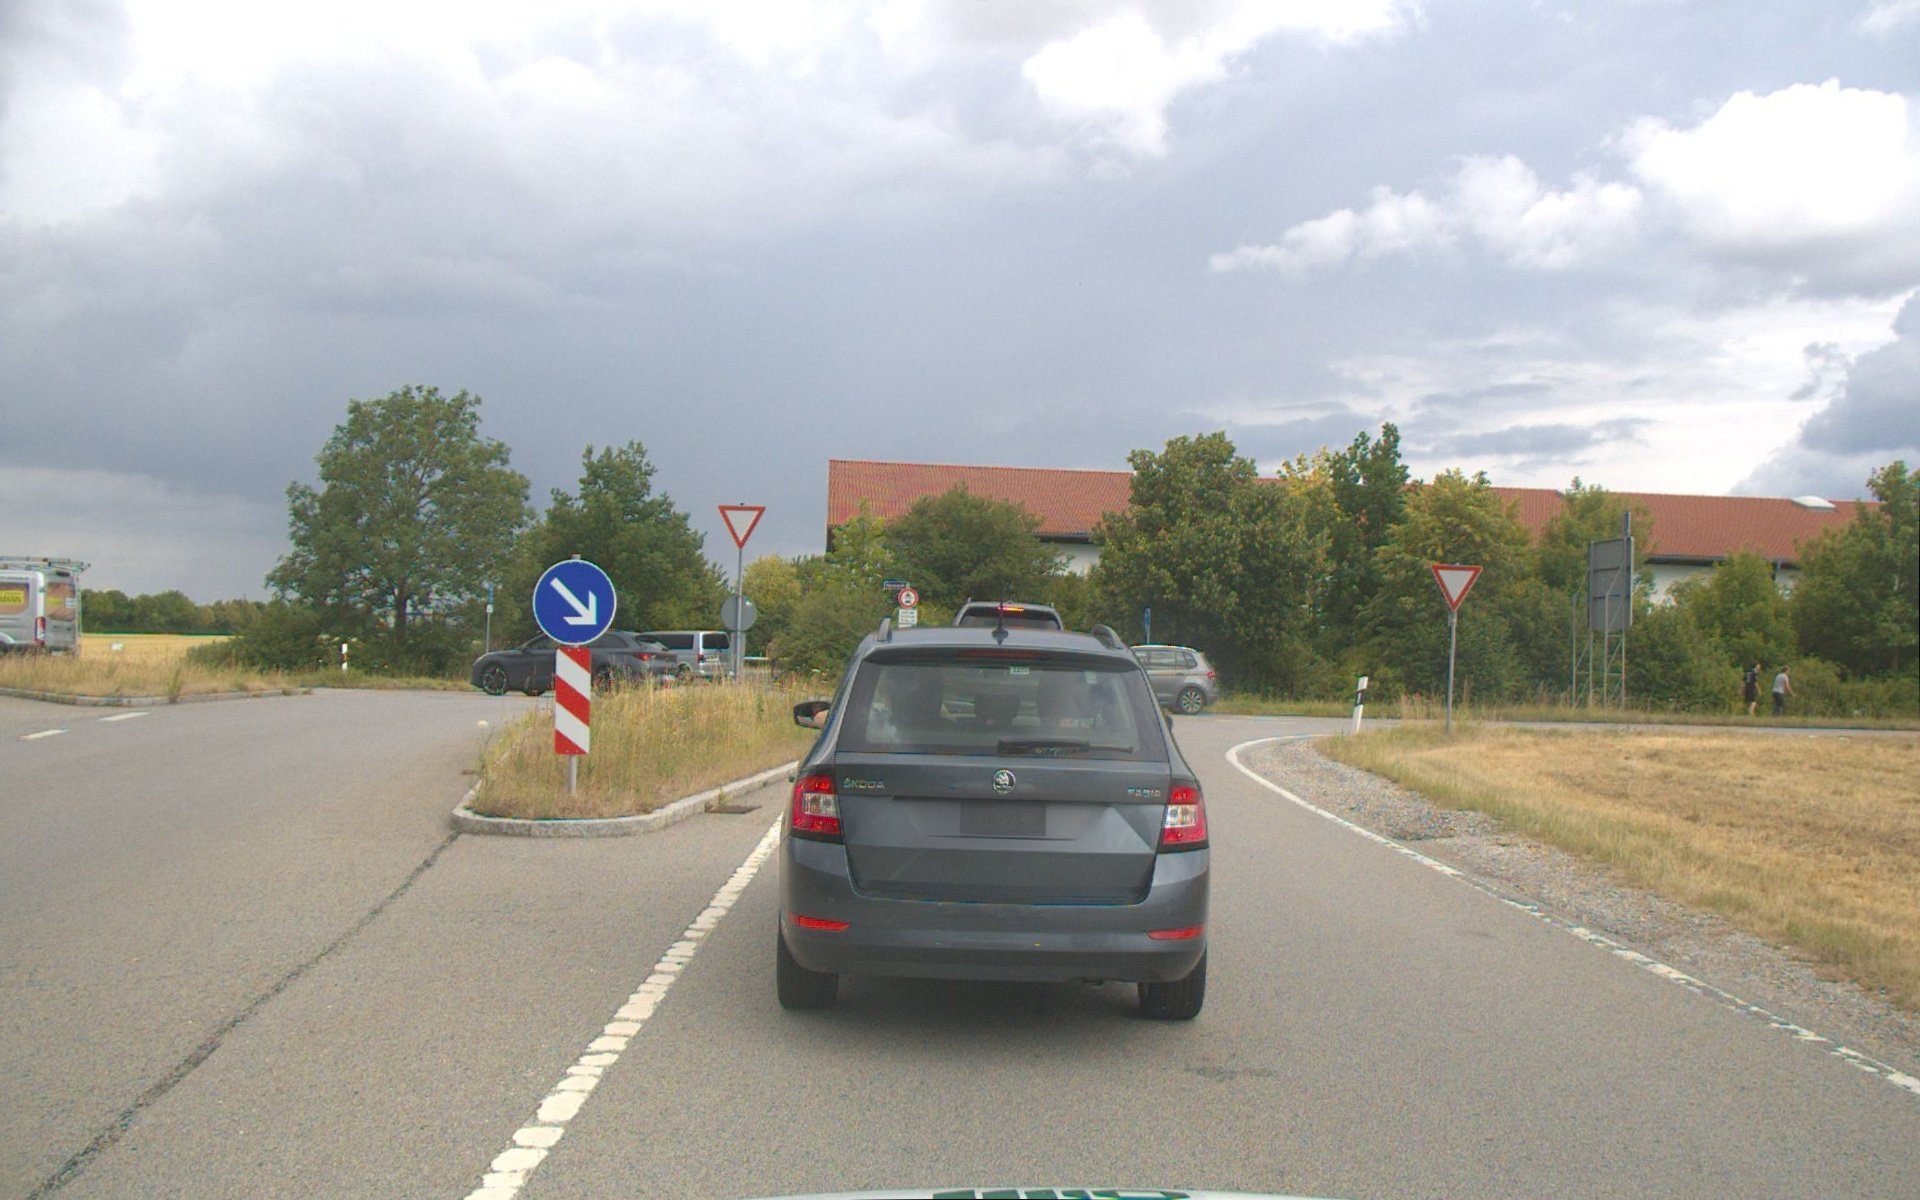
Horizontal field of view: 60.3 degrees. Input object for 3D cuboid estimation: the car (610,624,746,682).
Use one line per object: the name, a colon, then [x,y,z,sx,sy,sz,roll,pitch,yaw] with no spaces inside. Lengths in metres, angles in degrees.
car: [-10.640,1.964,62.279,4.814,2.049,2.334,0,-1,35]

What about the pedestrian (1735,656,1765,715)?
pedestrian: [23.475,2.534,49.141,0.614,1.712,0.529,1,-1,-10]

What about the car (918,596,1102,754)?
car: [0.536,0.961,21.811,1.954,1.806,4.639,2,-2,-4]

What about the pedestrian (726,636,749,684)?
pedestrian: [-8.327,2.240,61.849,0.519,1.756,0.640,0,-1,33]

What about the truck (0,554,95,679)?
truck: [-23.077,0.344,37.269,5.911,2.750,2.062,1,-1,-8]

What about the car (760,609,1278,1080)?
car: [0.170,0.809,7.168,1.642,1.488,3.706,1,-1,-1]

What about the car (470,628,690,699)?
car: [-8.019,1.317,34.984,4.250,1.368,1.682,1,-1,17]

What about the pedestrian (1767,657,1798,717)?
pedestrian: [23.771,2.519,47.819,0.614,1.712,0.529,1,-1,-10]

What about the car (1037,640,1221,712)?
car: [3.988,1.794,39.555,4.126,1.629,1.999,0,-1,-3]

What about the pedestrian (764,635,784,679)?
pedestrian: [-7.361,2.256,65.375,0.571,1.712,0.566,0,-1,22]
